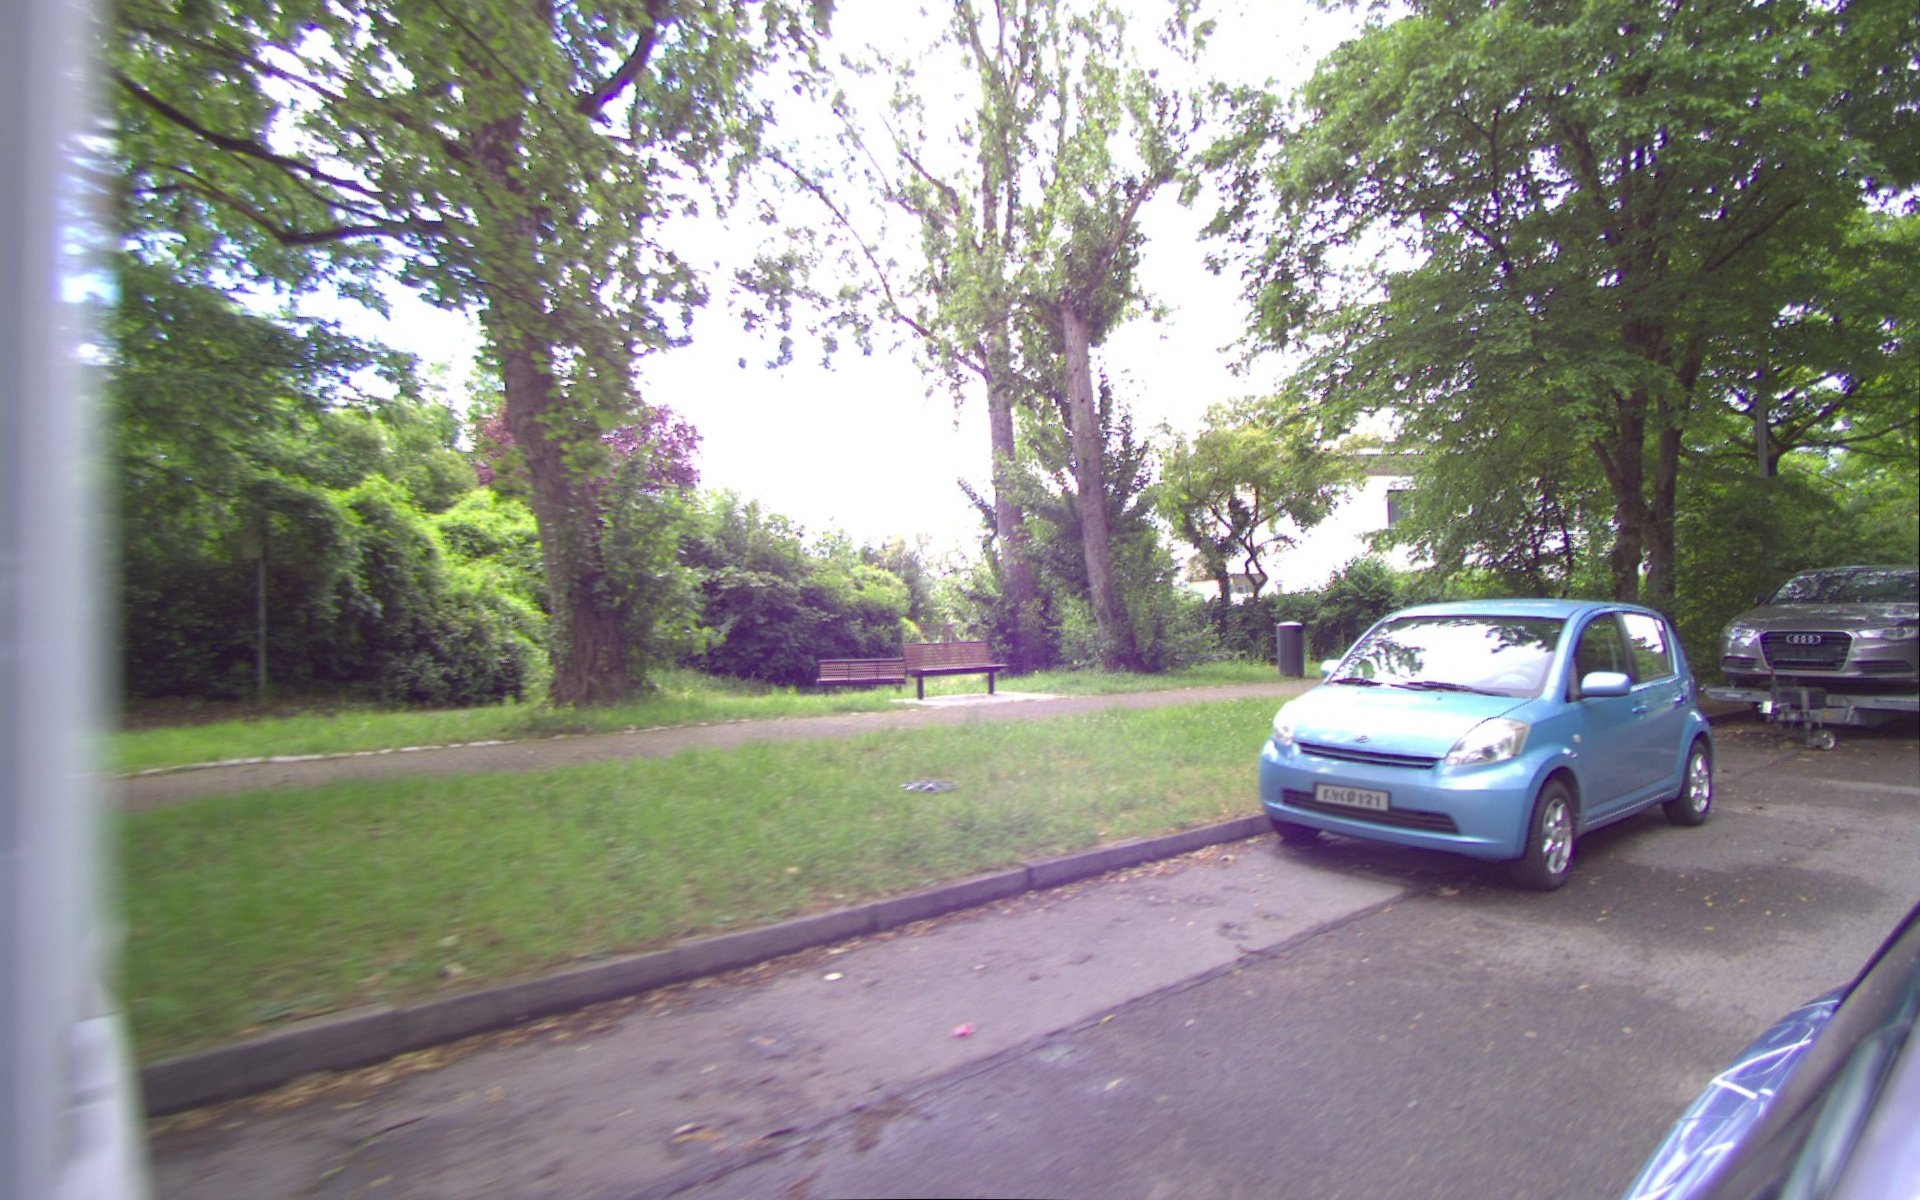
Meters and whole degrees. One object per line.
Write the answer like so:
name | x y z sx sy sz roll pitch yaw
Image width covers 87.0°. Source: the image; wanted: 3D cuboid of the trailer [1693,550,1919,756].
trailer | 10.921 0.423 12.044 5.786 1.957 1.998 -2 1 -38

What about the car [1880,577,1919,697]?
car | 15.689 0.492 15.311 4.516 1.706 1.845 -1 0 -38

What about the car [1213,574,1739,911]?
car | 3.477 0.659 6.558 3.701 1.567 1.699 0 0 -39
